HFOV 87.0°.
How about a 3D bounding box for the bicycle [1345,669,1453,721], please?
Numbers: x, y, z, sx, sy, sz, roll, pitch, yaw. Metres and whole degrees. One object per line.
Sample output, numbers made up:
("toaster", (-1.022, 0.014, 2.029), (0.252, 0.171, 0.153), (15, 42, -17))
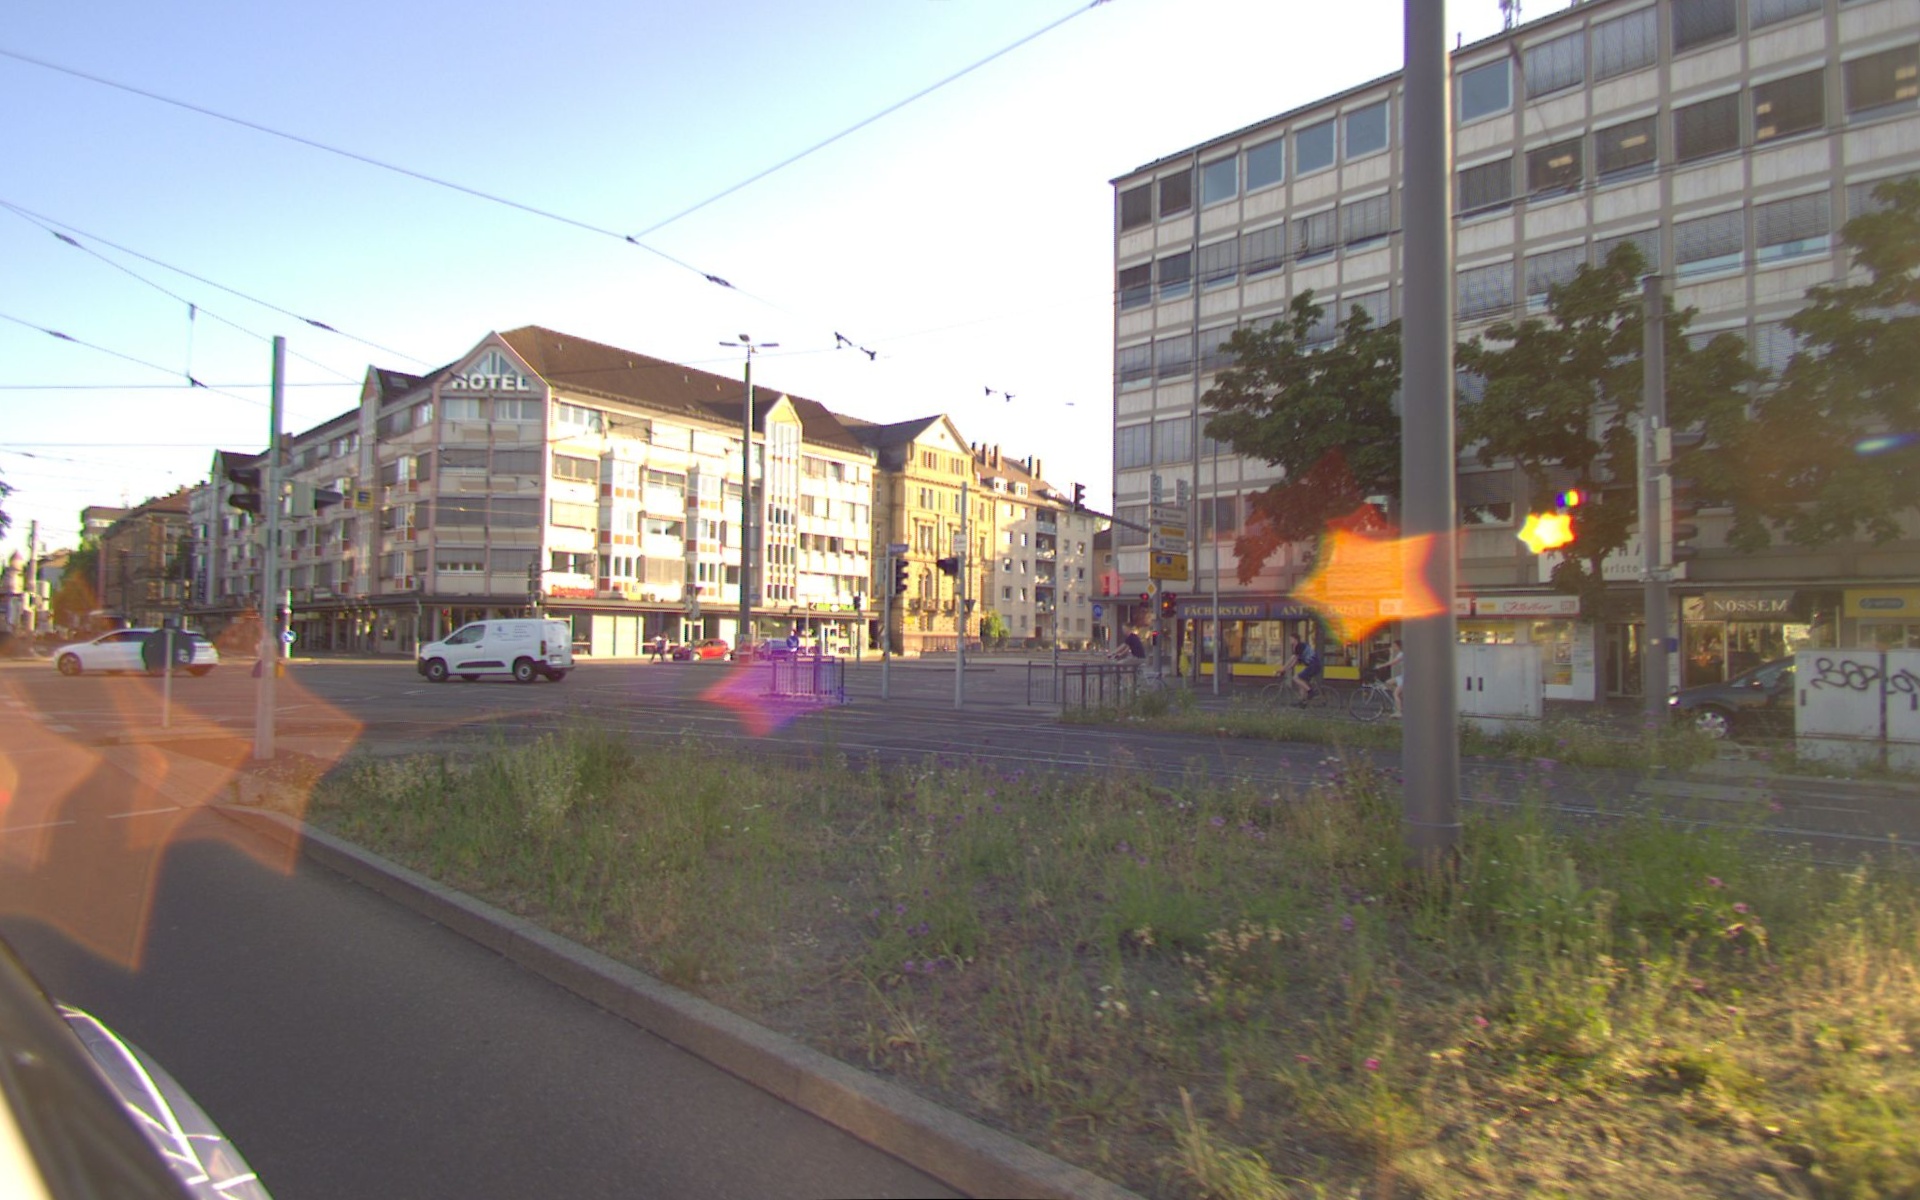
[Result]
("bicycle", (8.702, 1.864, 20.120), (1.942, 0.937, 0.718), (-1, -3, 24))

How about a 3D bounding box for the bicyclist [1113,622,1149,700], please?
("bicyclist", (3.648, 1.282, 21.595), (0.694, 1.624, 0.733), (0, -3, 16))

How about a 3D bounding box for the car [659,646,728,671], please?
("car", (-15.970, 3.521, 60.820), (1.646, 1.433, 3.848), (-2, -4, 37))

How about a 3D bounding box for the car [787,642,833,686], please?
("car", (-9.659, 4.178, 65.494), (2.191, 1.567, 4.612), (-7, -16, -2))

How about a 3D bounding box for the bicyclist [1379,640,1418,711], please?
("bicyclist", (8.718, 1.483, 20.121), (0.680, 1.380, 0.710), (-1, -3, 24))

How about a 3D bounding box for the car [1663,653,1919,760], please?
("car", (14.564, 1.723, 17.006), (4.302, 1.586, 1.972), (-2, -3, 42))

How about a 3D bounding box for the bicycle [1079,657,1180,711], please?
("bicycle", (3.619, 1.778, 21.574), (2.040, 1.084, 0.752), (0, -3, 17))

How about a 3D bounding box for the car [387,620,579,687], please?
("car", (-14.007, 1.554, 29.864), (4.820, 1.852, 1.995), (0, -2, 9))

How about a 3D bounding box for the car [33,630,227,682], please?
("car", (-25.203, 1.696, 30.824), (4.502, 1.460, 1.815), (1, -2, 3))
